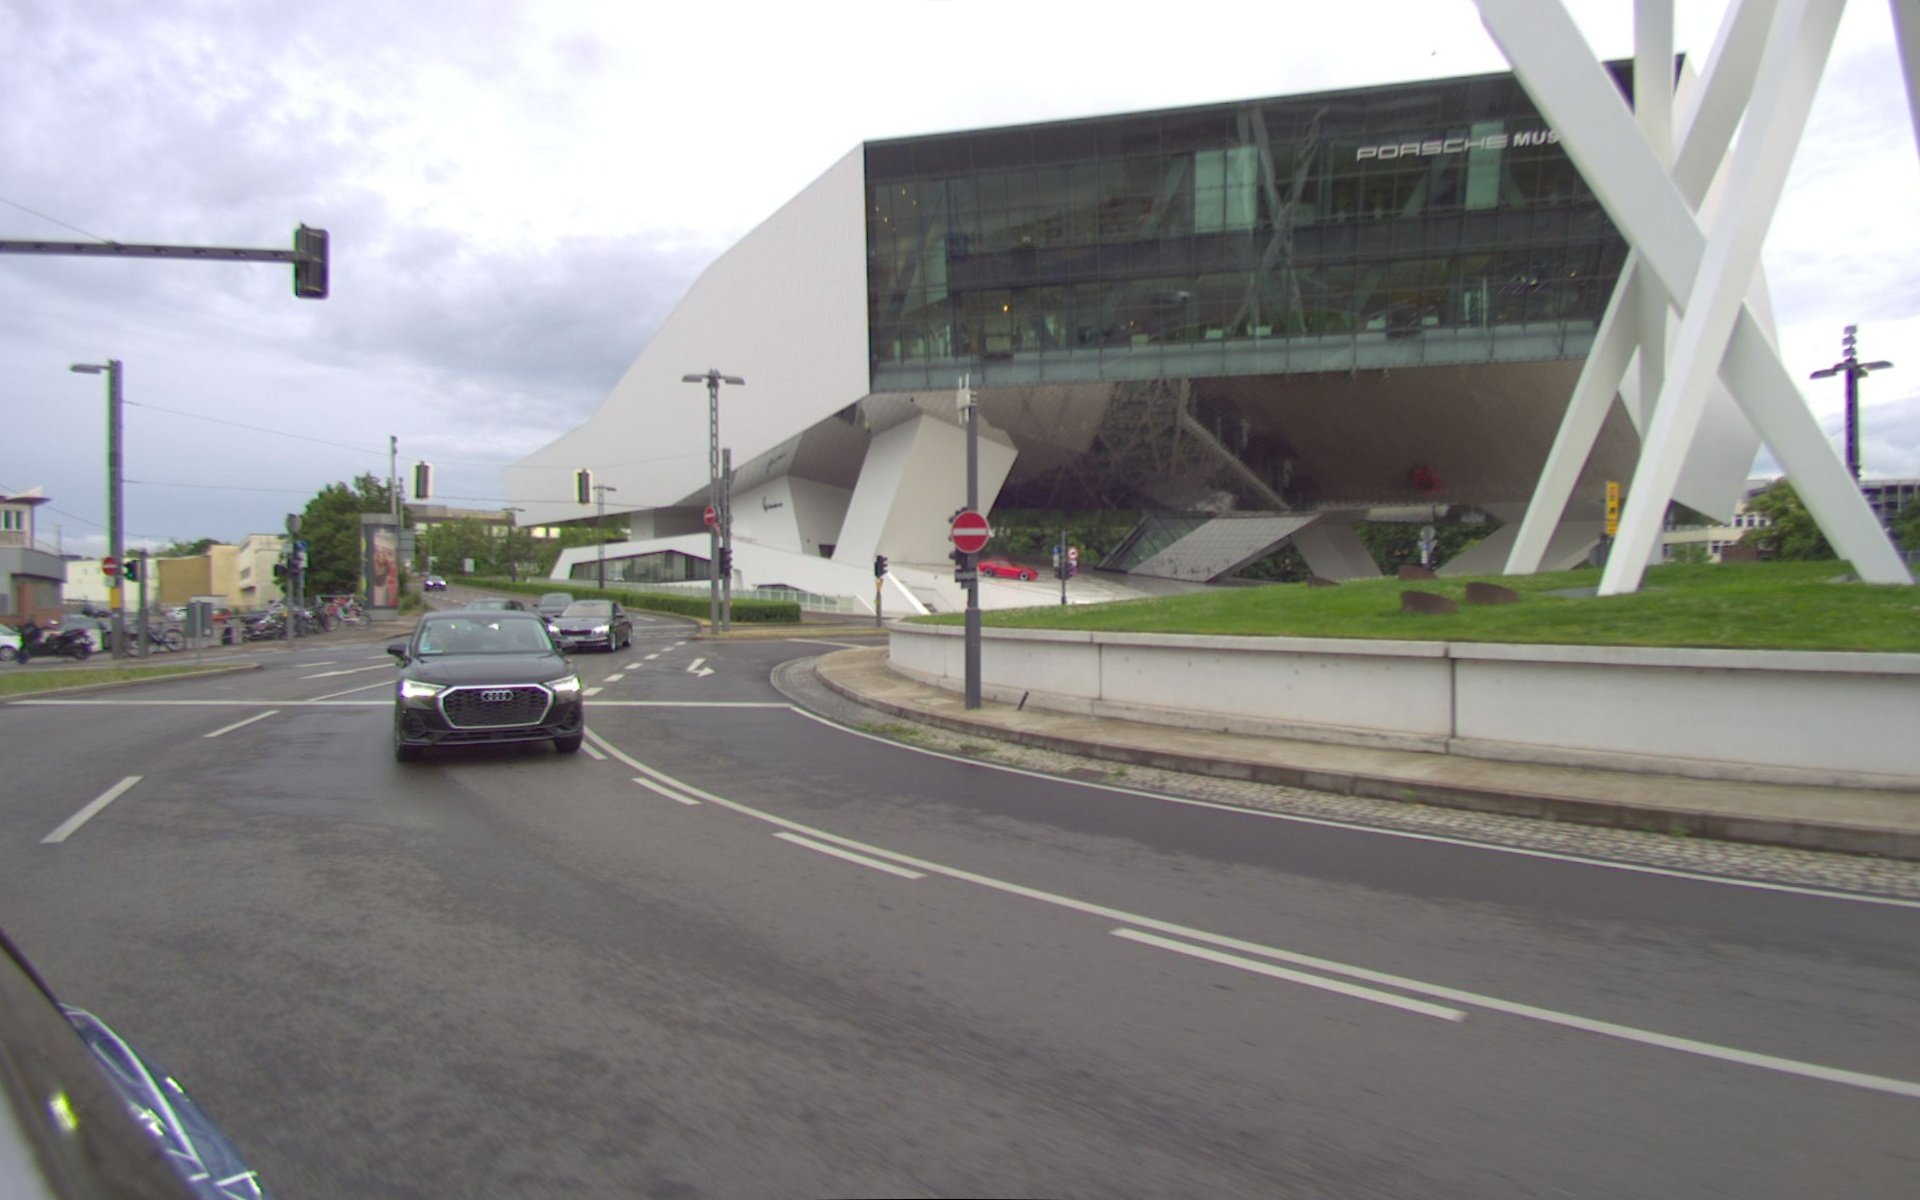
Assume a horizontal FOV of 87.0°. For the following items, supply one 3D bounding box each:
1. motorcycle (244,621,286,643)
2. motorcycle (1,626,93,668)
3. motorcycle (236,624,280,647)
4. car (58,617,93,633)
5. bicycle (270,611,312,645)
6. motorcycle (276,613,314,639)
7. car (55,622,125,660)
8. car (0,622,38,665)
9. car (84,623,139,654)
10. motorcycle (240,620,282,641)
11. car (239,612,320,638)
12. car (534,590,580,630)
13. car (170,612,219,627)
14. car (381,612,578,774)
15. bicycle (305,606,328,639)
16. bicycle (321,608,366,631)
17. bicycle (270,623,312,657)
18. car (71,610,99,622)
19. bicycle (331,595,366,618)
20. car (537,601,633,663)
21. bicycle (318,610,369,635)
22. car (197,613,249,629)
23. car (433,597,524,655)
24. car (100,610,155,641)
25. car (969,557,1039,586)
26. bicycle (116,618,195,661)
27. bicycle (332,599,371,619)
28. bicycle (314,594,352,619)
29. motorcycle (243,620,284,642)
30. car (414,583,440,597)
[{"bbox_3d":[-33.271,1.545,48.442,1.593,0.928,0.422,-4,4,-45],"label":"motorcycle"},{"bbox_3d":[-27.413,1.392,30.409,2.061,1.154,0.489,-2,3,-11],"label":"motorcycle"},{"bbox_3d":[-31.966,1.619,46.119,1.591,0.928,0.483,-3,3,-39],"label":"motorcycle"},{"bbox_3d":[-82.159,2.314,94.022,3.994,1.436,1.699,-1,1,38],"label":"car"},{"bbox_3d":[-24.441,1.008,37.004,0.343,1.092,1.744,0,2,1],"label":"bicycle"},{"bbox_3d":[-25.768,1.002,39.228,0.539,0.902,1.748,0,2,-9],"label":"motorcycle"},{"bbox_3d":[-41.606,1.922,48.507,1.858,1.562,4.520,-2,1,-32],"label":"car"},{"bbox_3d":[-36.797,1.660,37.239,3.931,1.500,1.573,-2,1,-23],"label":"car"},{"bbox_3d":[-45.714,2.053,54.593,1.691,1.436,4.012,-2,1,-31],"label":"car"},{"bbox_3d":[-34.565,1.511,50.051,0.421,0.928,1.594,1,4,43],"label":"motorcycle"},{"bbox_3d":[-43.163,1.566,64.284,3.932,1.436,1.726,-2,1,-17],"label":"car"},{"bbox_3d":[-17.740,0.392,44.441,1.719,1.485,4.083,-2,3,-23],"label":"car"},{"bbox_3d":[-82.326,2.073,108.855,1.721,1.436,3.943,-1,1,44],"label":"car"},{"bbox_3d":[-5.761,0.929,11.931,1.727,1.530,4.408,2,-2,-29],"label":"car"},{"bbox_3d":[-25.150,0.854,39.568,0.393,1.184,2.022,-1,2,-23],"label":"bicycle"},{"bbox_3d":[-26.407,0.845,43.371,1.589,0.929,0.423,-1,1,-20],"label":"bicycle"},{"bbox_3d":[-24.865,1.475,37.633,0.343,1.092,1.744,0,2,1],"label":"bicycle"},{"bbox_3d":[-109.627,1.951,126.803,3.989,1.436,1.701,-1,1,34],"label":"car"},{"bbox_3d":[-29.264,0.313,48.447,0.441,1.082,1.449,3,2,27],"label":"bicycle"},{"bbox_3d":[-10.884,0.880,29.654,1.789,1.449,4.311,-1,3,-9],"label":"car"},{"bbox_3d":[-25.009,0.915,41.070,1.715,0.969,0.423,-1,2,-24],"label":"bicycle"},{"bbox_3d":[-72.574,2.073,99.686,1.721,1.436,3.943,-1,1,44],"label":"car"},{"bbox_3d":[-14.816,0.745,31.358,1.667,1.518,4.022,-1,2,-12],"label":"car"},{"bbox_3d":[-49.401,1.476,60.130,1.754,1.679,4.519,-2,1,-29],"label":"car"},{"bbox_3d":[2.917,-1.854,66.516,4.203,1.394,1.993,7,2,12],"label":"car"},{"bbox_3d":[-24.924,1.208,31.408,0.417,1.138,2.064,0,3,14],"label":"bicycle"},{"bbox_3d":[-29.702,0.420,49.404,0.483,0.928,1.692,1,2,22],"label":"bicycle"},{"bbox_3d":[-30.699,0.323,49.543,1.519,1.163,0.452,1,2,-37],"label":"bicycle"},{"bbox_3d":[-33.997,1.499,49.413,0.421,0.928,1.594,1,4,43],"label":"motorcycle"},{"bbox_3d":[-56.974,-1.078,108.125,1.789,1.449,4.311,0,-1,-37],"label":"car"}]
